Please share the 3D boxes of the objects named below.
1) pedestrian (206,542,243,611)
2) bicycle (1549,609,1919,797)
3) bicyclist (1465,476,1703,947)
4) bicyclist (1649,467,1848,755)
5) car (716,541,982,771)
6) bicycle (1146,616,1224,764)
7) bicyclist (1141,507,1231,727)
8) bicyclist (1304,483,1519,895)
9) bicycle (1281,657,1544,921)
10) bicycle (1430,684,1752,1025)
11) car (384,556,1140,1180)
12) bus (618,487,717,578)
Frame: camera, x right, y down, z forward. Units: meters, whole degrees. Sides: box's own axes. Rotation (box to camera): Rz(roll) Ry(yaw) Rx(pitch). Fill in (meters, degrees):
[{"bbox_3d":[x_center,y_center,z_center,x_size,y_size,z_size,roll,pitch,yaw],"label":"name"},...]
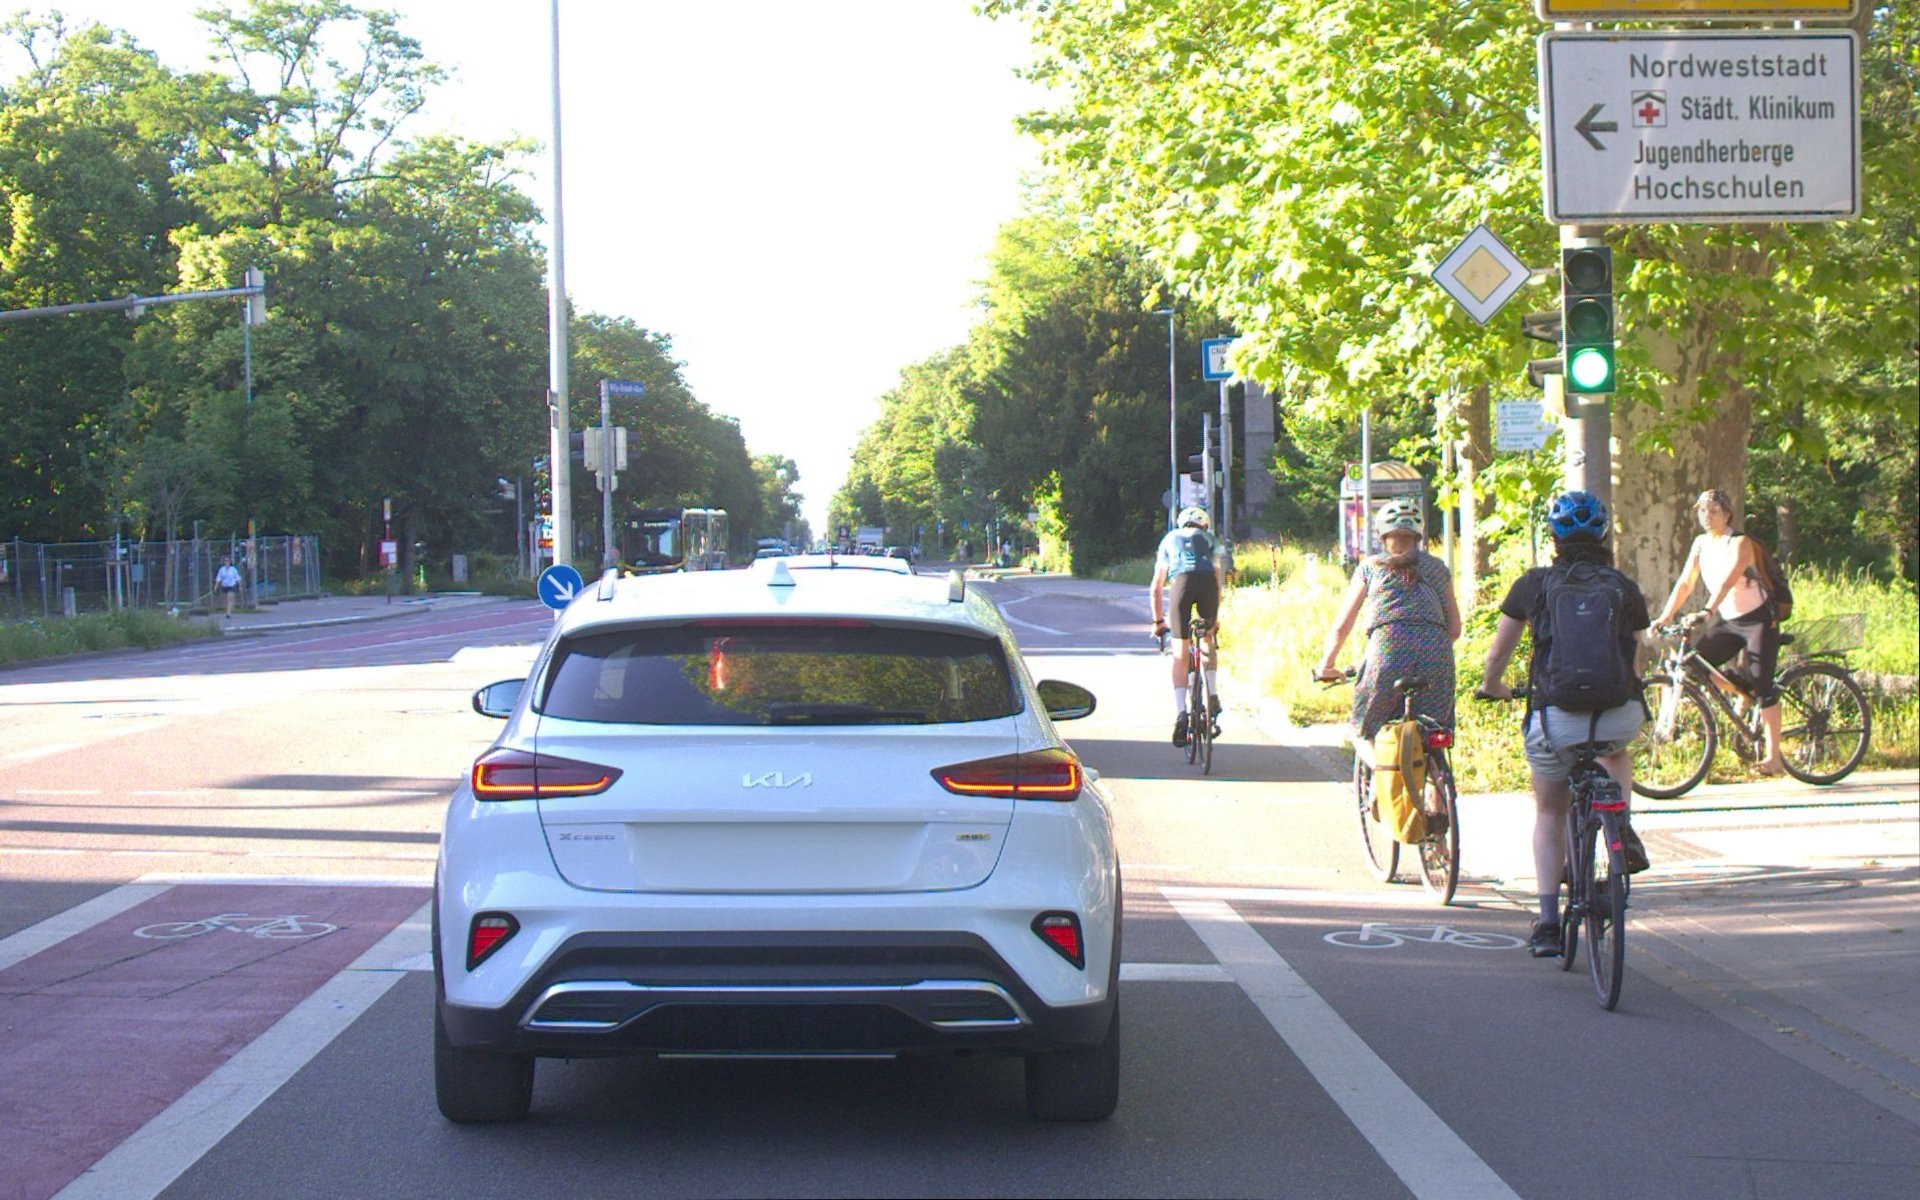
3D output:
[{"bbox_3d":[-18.958,-0.604,88.618,0.785,1.779,0.751,0,0,0],"label":"pedestrian"},{"bbox_3d":[4.566,0.582,19.977,2.092,0.972,0.751,-2,1,-13],"label":"bicycle"},{"bbox_3d":[2.175,0.374,12.051,0.665,1.596,0.721,0,1,-2],"label":"bicyclist"},{"bbox_3d":[4.574,0.056,19.972,0.846,1.608,0.736,-2,1,-13],"label":"bicyclist"},{"bbox_3d":[-0.804,0.340,24.573,1.728,1.478,3.517,-2,1,-2],"label":"car"},{"bbox_3d":[1.520,0.596,23.347,0.401,0.953,1.551,0,0,-1],"label":"bicycle"},{"bbox_3d":[1.532,0.111,23.414,0.554,1.473,0.717,0,0,-1],"label":"bicyclist"},{"bbox_3d":[2.030,0.379,15.600,0.753,1.789,1.165,1,1,-2],"label":"bicyclist"},{"bbox_3d":[2.018,0.815,15.706,0.758,1.009,2.570,1,1,-2],"label":"bicycle"},{"bbox_3d":[2.171,0.844,12.085,0.668,1.006,2.081,0,1,-2],"label":"bicycle"},{"bbox_3d":[-0.546,0.623,10.306,1.821,1.475,3.937,0,1,-2],"label":"car"},{"bbox_3d":[-12.441,-2.869,147.300,3.741,3.660,13.242,-1,1,-3],"label":"bus"}]
